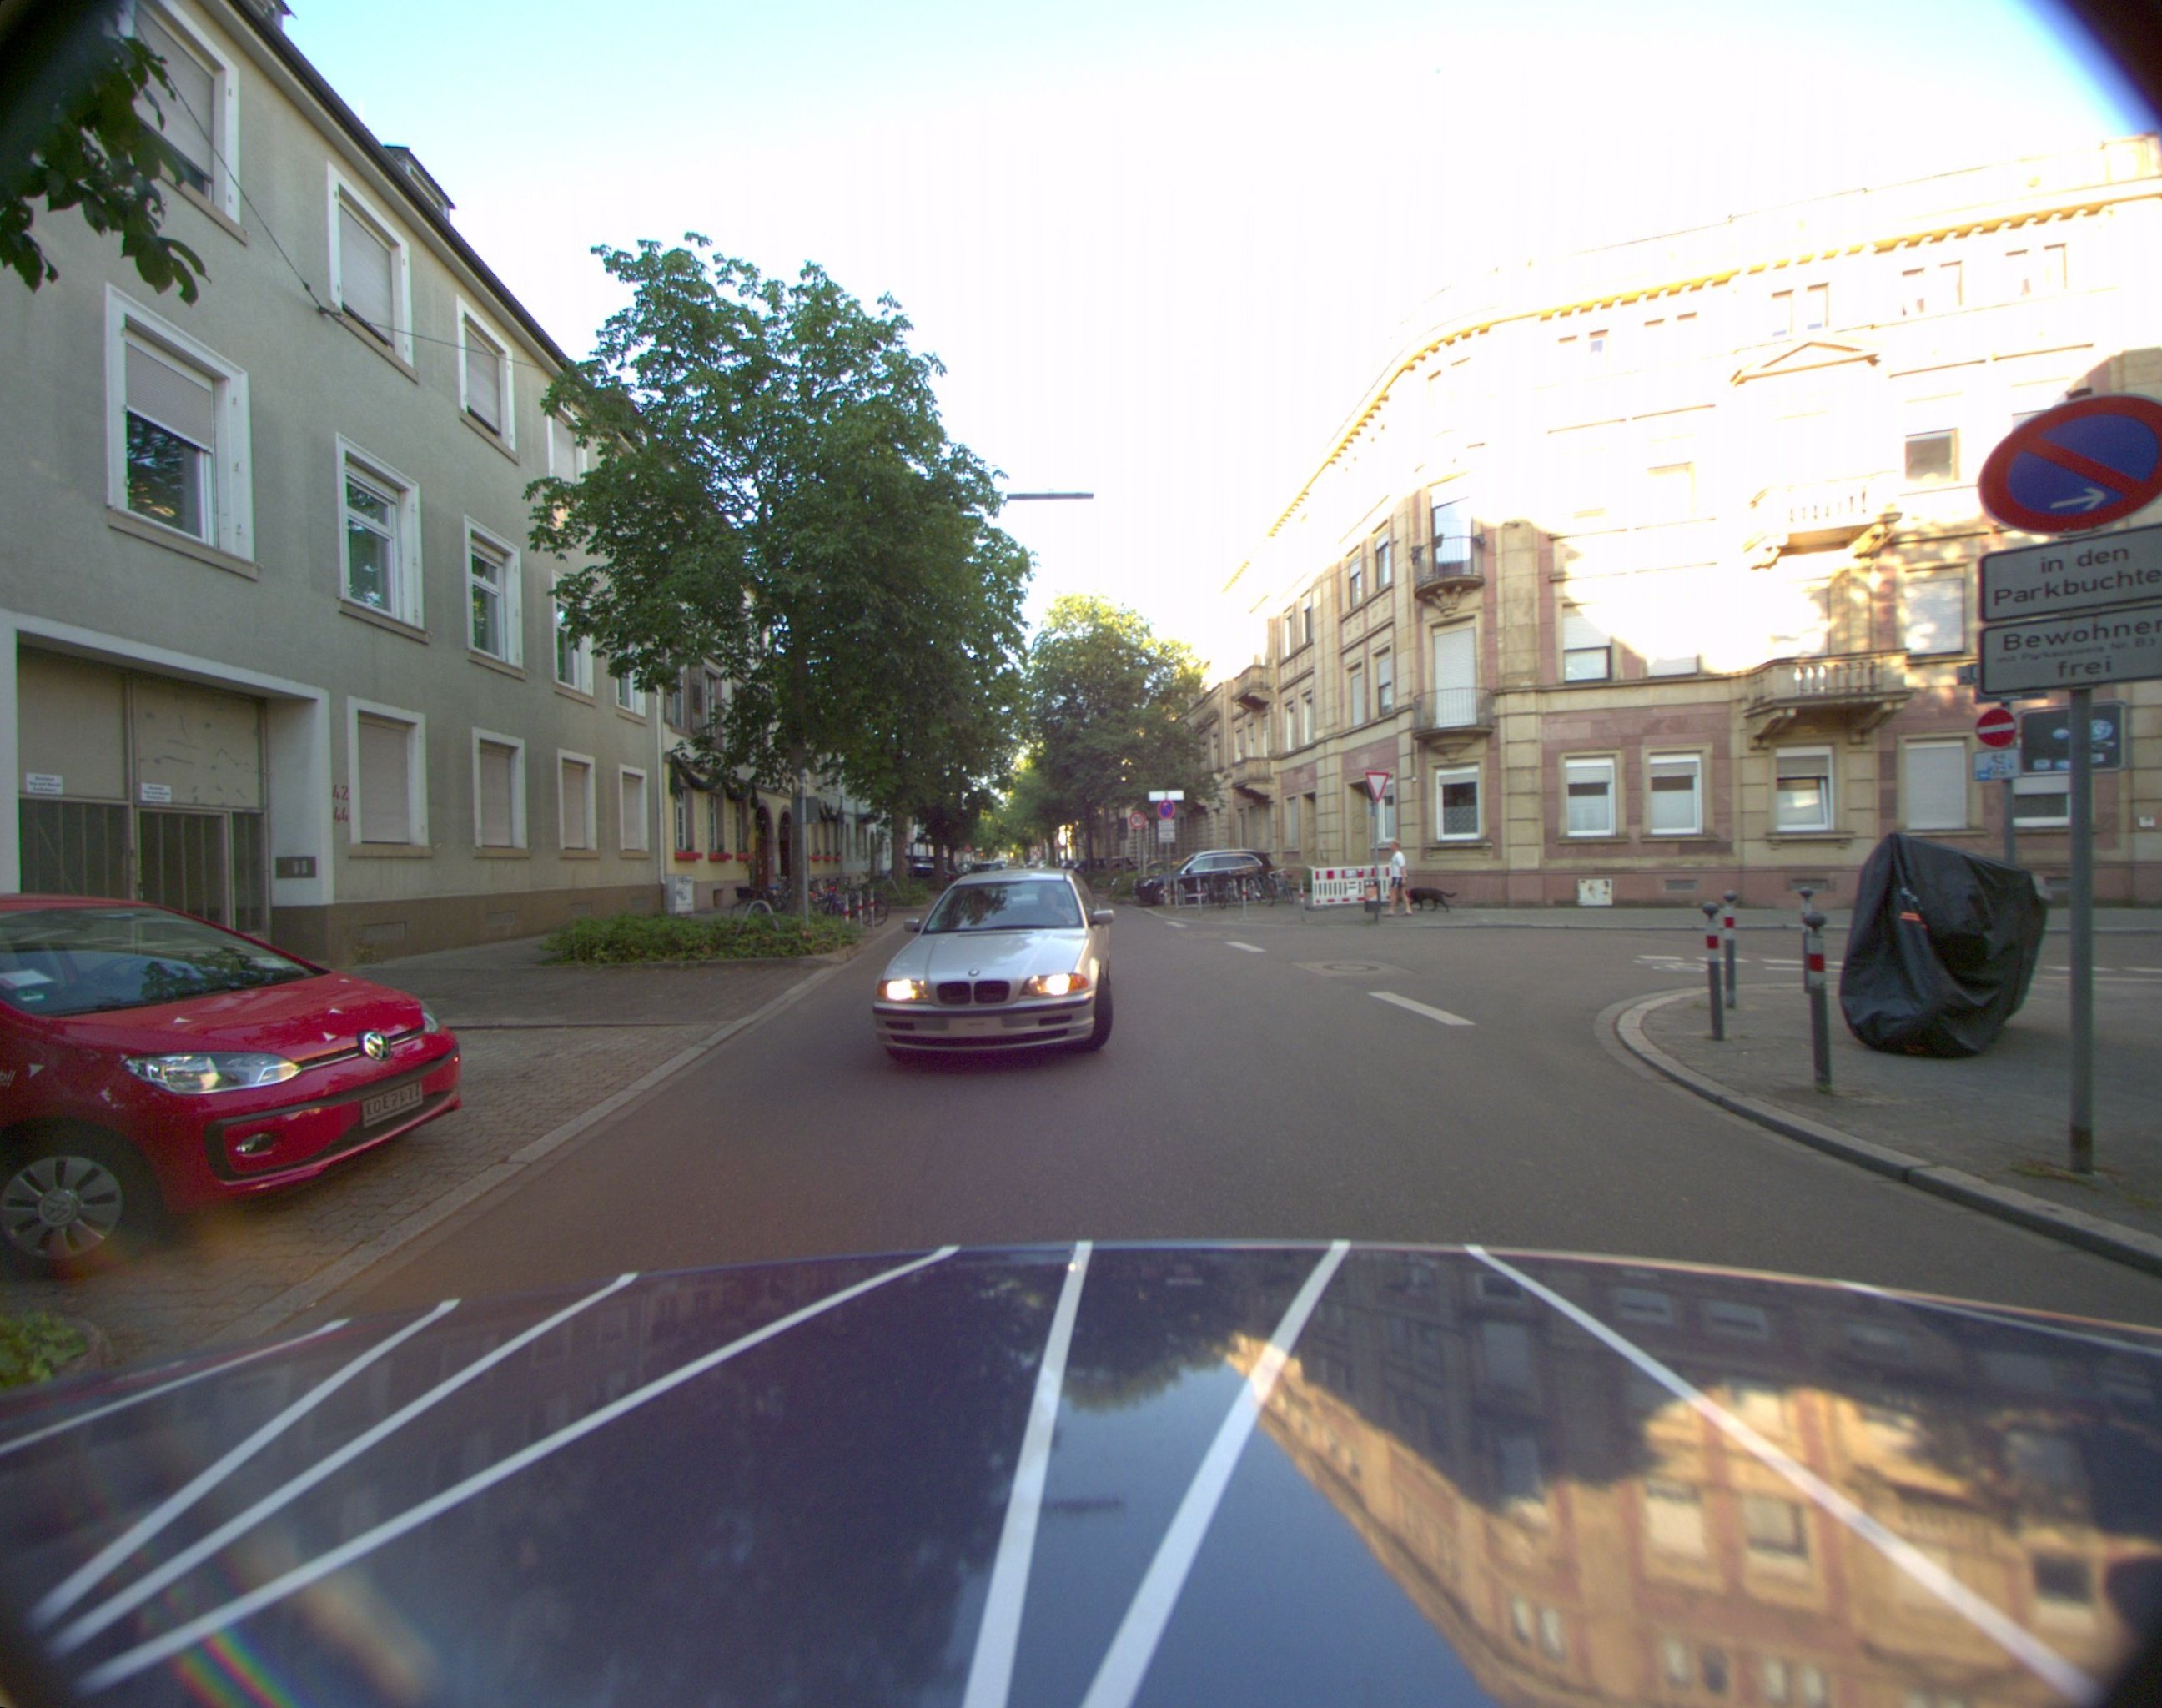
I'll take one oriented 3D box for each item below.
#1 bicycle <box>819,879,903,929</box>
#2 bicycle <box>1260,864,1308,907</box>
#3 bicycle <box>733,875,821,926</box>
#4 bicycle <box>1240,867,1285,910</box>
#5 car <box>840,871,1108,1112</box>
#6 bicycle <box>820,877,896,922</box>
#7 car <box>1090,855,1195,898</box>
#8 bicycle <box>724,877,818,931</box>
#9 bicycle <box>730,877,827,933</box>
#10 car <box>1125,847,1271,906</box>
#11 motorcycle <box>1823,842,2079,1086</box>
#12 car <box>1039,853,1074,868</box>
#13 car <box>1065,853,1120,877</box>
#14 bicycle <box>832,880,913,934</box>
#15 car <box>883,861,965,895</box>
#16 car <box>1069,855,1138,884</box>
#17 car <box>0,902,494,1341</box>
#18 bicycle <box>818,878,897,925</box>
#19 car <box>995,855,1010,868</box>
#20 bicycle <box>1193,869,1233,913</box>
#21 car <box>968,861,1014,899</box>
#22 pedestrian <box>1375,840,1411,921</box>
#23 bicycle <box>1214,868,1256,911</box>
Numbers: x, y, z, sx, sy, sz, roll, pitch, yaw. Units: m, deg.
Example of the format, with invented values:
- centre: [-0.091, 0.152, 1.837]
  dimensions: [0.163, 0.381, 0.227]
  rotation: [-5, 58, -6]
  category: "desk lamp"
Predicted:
- centre: [-5.664, 1.285, 19.639]
  dimensions: [2.029, 1.220, 0.535]
  rotation: [-1, 0, -11]
  category: "bicycle"
- centre: [5.791, 0.881, 21.820]
  dimensions: [0.562, 1.144, 2.038]
  rotation: [-1, 0, -8]
  category: "bicycle"
- centre: [-7.818, 1.184, 19.599]
  dimensions: [2.029, 1.220, 0.535]
  rotation: [-1, 0, -13]
  category: "bicycle"
- centre: [5.172, 0.961, 21.771]
  dimensions: [0.562, 1.144, 2.038]
  rotation: [-1, 0, -8]
  category: "bicycle"
- centre: [-0.664, 0.945, 7.162]
  dimensions: [1.711, 1.433, 4.436]
  rotation: [-1, 0, 1]
  category: "car"
- centre: [-6.372, 1.289, 21.790]
  dimensions: [2.029, 1.220, 0.535]
  rotation: [-1, 0, -11]
  category: "bicycle"
- centre: [2.526, 0.914, 32.088]
  dimensions: [4.243, 1.668, 1.742]
  rotation: [-1, 0, -1]
  category: "car"
- centre: [-7.497, 1.185, 18.453]
  dimensions: [2.030, 1.220, 0.535]
  rotation: [-1, 0, -16]
  category: "bicycle"
- centre: [-7.037, 1.175, 17.750]
  dimensions: [2.030, 1.220, 0.535]
  rotation: [-1, 0, -16]
  category: "bicycle"
- centre: [3.721, 0.710, 24.650]
  dimensions: [4.423, 1.771, 1.742]
  rotation: [-1, 0, -1]
  category: "car"
- centre: [6.493, 0.679, 5.638]
  dimensions: [2.286, 1.496, 0.816]
  rotation: [-1, 1, -30]
  category: "motorcycle"
- centre: [-2.986, 0.806, 92.538]
  dimensions: [4.245, 1.749, 1.741]
  rotation: [-1, 0, -5]
  category: "car"
- centre: [0.860, 0.871, 60.852]
  dimensions: [4.245, 1.749, 1.741]
  rotation: [-1, 0, -5]
  category: "car"
- centre: [-5.041, 1.259, 18.399]
  dimensions: [1.849, 1.220, 0.535]
  rotation: [-1, 0, -16]
  category: "bicycle"
- centre: [-8.558, 1.279, 41.671]
  dimensions: [4.245, 1.729, 1.741]
  rotation: [-1, 0, -6]
  category: "car"
- centre: [1.406, 0.961, 48.382]
  dimensions: [4.245, 1.749, 1.741]
  rotation: [-1, 0, -5]
  category: "car"
- centre: [-5.168, 1.045, 3.420]
  dimensions: [3.621, 1.468, 1.663]
  rotation: [-1, 0, -7]
  category: "car"
- centre: [-6.131, 1.289, 20.920]
  dimensions: [2.029, 1.220, 0.535]
  rotation: [-1, 0, -11]
  category: "bicycle"
- centre: [-9.640, 0.899, 93.747]
  dimensions: [1.806, 1.543, 3.998]
  rotation: [-1, 0, -5]
  category: "car"
- centre: [3.740, 1.028, 21.661]
  dimensions: [0.562, 1.144, 2.038]
  rotation: [-1, 0, -6]
  category: "bicycle"
- centre: [-3.972, 1.096, 34.060]
  dimensions: [1.806, 1.543, 3.998]
  rotation: [-1, 0, -4]
  category: "car"
- centre: [7.141, 0.591, 17.381]
  dimensions: [0.649, 1.797, 0.574]
  rotation: [-1, 1, 32]
  category: "pedestrian"
- centre: [4.379, 0.984, 21.729]
  dimensions: [0.562, 1.144, 2.038]
  rotation: [-1, 0, -6]
  category: "bicycle"
